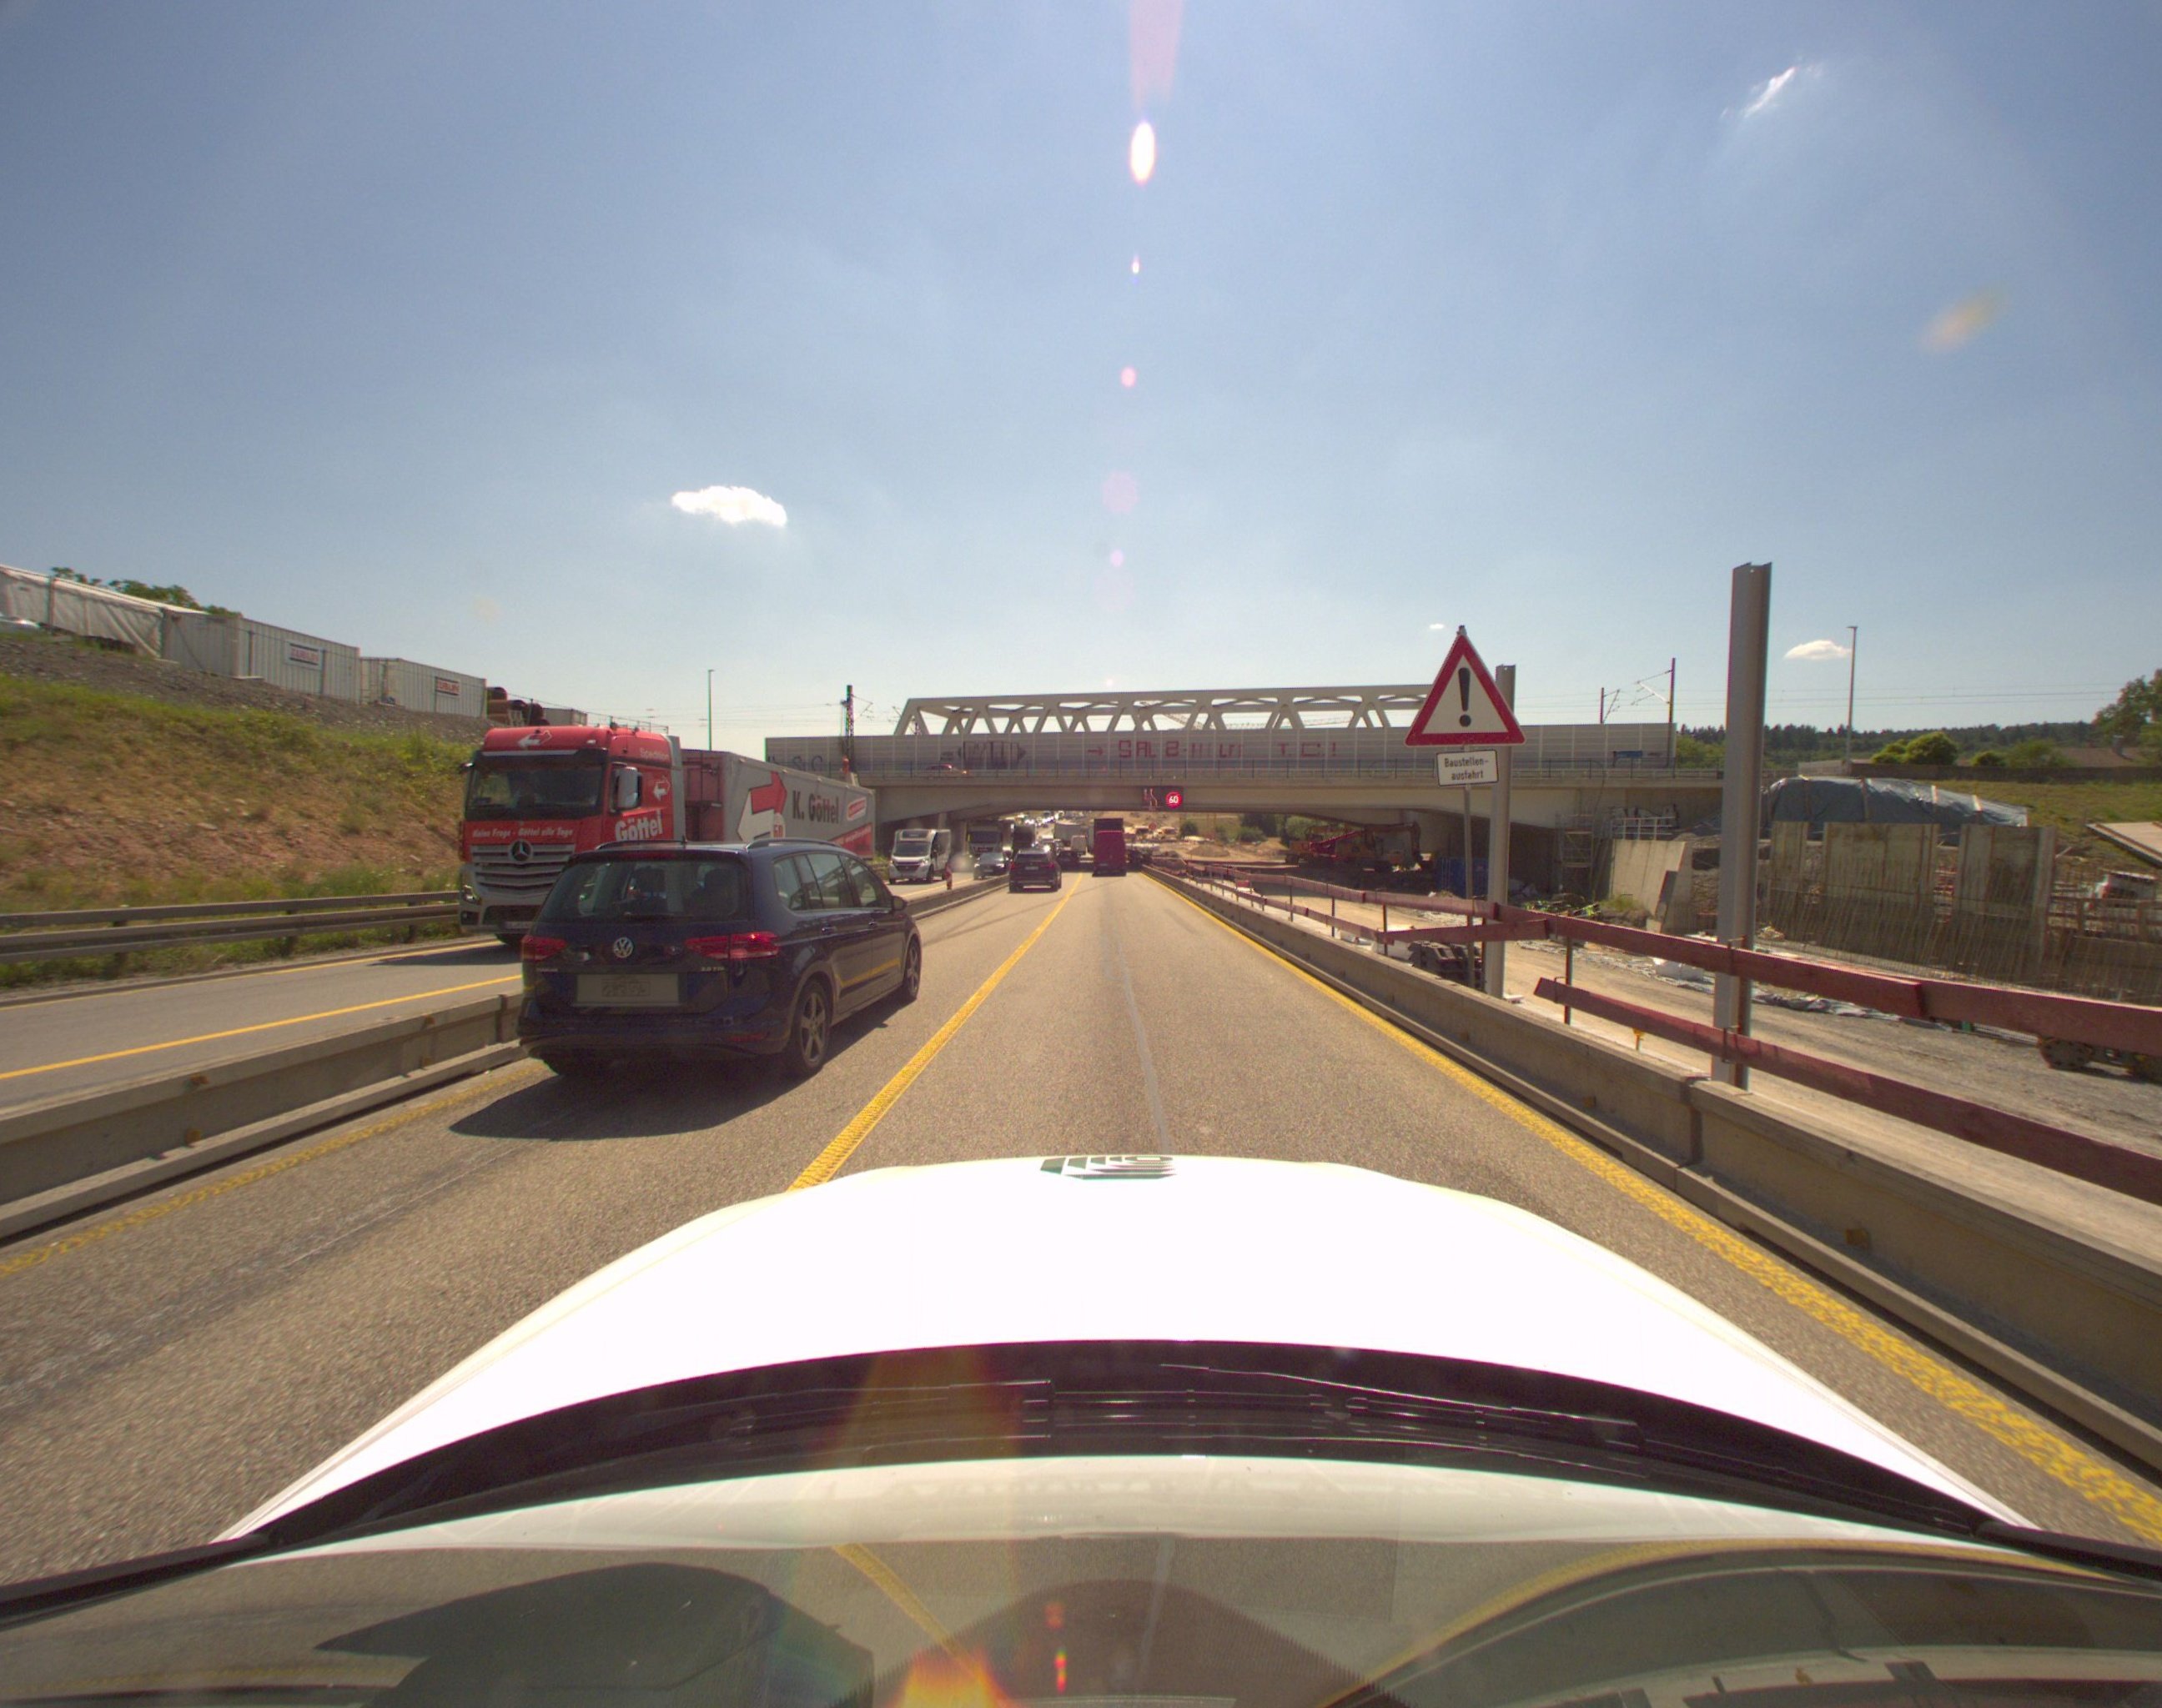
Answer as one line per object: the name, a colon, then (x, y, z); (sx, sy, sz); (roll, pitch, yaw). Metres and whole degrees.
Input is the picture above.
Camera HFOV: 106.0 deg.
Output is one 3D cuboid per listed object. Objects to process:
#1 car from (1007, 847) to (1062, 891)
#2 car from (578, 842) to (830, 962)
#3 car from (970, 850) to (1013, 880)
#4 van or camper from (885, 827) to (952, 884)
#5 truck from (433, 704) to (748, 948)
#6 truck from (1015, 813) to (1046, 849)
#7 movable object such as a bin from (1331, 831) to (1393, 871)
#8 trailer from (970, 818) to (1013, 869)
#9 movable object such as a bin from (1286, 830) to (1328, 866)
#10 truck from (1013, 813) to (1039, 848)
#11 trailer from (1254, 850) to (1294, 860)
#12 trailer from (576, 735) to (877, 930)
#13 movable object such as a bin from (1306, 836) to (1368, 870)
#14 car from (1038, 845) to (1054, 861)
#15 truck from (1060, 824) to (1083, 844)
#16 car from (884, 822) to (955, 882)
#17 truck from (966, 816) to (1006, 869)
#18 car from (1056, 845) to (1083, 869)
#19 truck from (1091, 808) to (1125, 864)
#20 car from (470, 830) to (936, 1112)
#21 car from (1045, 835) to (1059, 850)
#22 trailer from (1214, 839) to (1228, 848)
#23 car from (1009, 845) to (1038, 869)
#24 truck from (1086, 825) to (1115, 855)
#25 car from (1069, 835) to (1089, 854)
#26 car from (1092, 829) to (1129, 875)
car: (-1.768, 0.544, 32.216); (1.827, 1.635, 4.390); (0, 0, 1)
car: (-5.972, 0.661, 13.679); (1.826, 1.663, 4.688); (0, 0, 3)
car: (-4.931, 0.564, 45.433); (1.747, 1.517, 4.189); (0, 1, 2)
van or camper: (-8.183, 0.064, 41.753); (2.117, 2.704, 6.454); (-1, 0, 0)
truck: (-8.818, -0.425, 15.496); (2.575, 3.828, 5.383); (0, 0, 2)
truck: (-6.517, -2.895, 107.604); (2.758, 4.313, 13.496); (0, 0, 2)
movable object such as a bin: (24.442, -0.252, 70.944); (4.531, 3.287, 2.995); (1, 0, 5)
trailer: (-7.707, -0.850, 71.030); (2.803, 4.174, 8.243); (0, 0, 0)
movable object such as a bin: (22.797, -0.629, 82.330); (3.855, 3.542, 2.913); (1, 0, 12)
truck: (-6.773, -2.846, 101.006); (2.649, 4.171, 5.189); (0, -1, 2)
trailer: (25.208, 0.146, 106.377); (4.696, 1.219, 2.056); (0, 0, 1)
trailer: (-8.453, -0.392, 21.916); (2.646, 3.816, 11.824); (0, 0, 2)
movable object such as a bin: (24.525, -0.104, 78.210); (5.214, 3.056, 2.500); (1, 0, 5)
car: (-4.279, -0.190, 101.238); (1.794, 1.932, 4.967); (0, 1, 0)
truck: (-1.754, -3.620, 149.852); (3.217, 3.360, 8.916); (0, 0, -8)
car: (-8.180, -0.080, 41.885); (2.267, 2.821, 6.558); (0, 0, 1)
truck: (-7.721, -0.891, 66.689); (2.789, 4.150, 4.073); (0, -1, 0)
car: (-0.842, 0.236, 62.198); (1.827, 1.777, 4.391); (0, 0, 2)
truck: (2.469, -1.758, 74.429); (2.934, 4.944, 6.746); (0, 3, 1)
car: (-2.607, 0.674, 6.942); (1.727, 1.635, 4.393); (0, 0, 3)
car: (-4.699, -1.845, 131.196); (1.977, 2.330, 6.049); (-1, 1, -4)
trailer: (24.466, -1.815, 142.464); (1.619, 1.486, 3.824); (0, 1, -2)
car: (-4.446, 0.226, 63.828); (1.849, 1.756, 4.610); (0, 0, 1)
truck: (2.694, -1.997, 112.815); (3.178, 3.988, 6.730); (-1, 3, -6)
car: (-0.307, -1.290, 110.229); (2.261, 2.354, 5.153); (0, 3, -4)
car: (1.824, -0.107, 50.008); (2.142, 2.611, 5.441); (0, 0, 2)
